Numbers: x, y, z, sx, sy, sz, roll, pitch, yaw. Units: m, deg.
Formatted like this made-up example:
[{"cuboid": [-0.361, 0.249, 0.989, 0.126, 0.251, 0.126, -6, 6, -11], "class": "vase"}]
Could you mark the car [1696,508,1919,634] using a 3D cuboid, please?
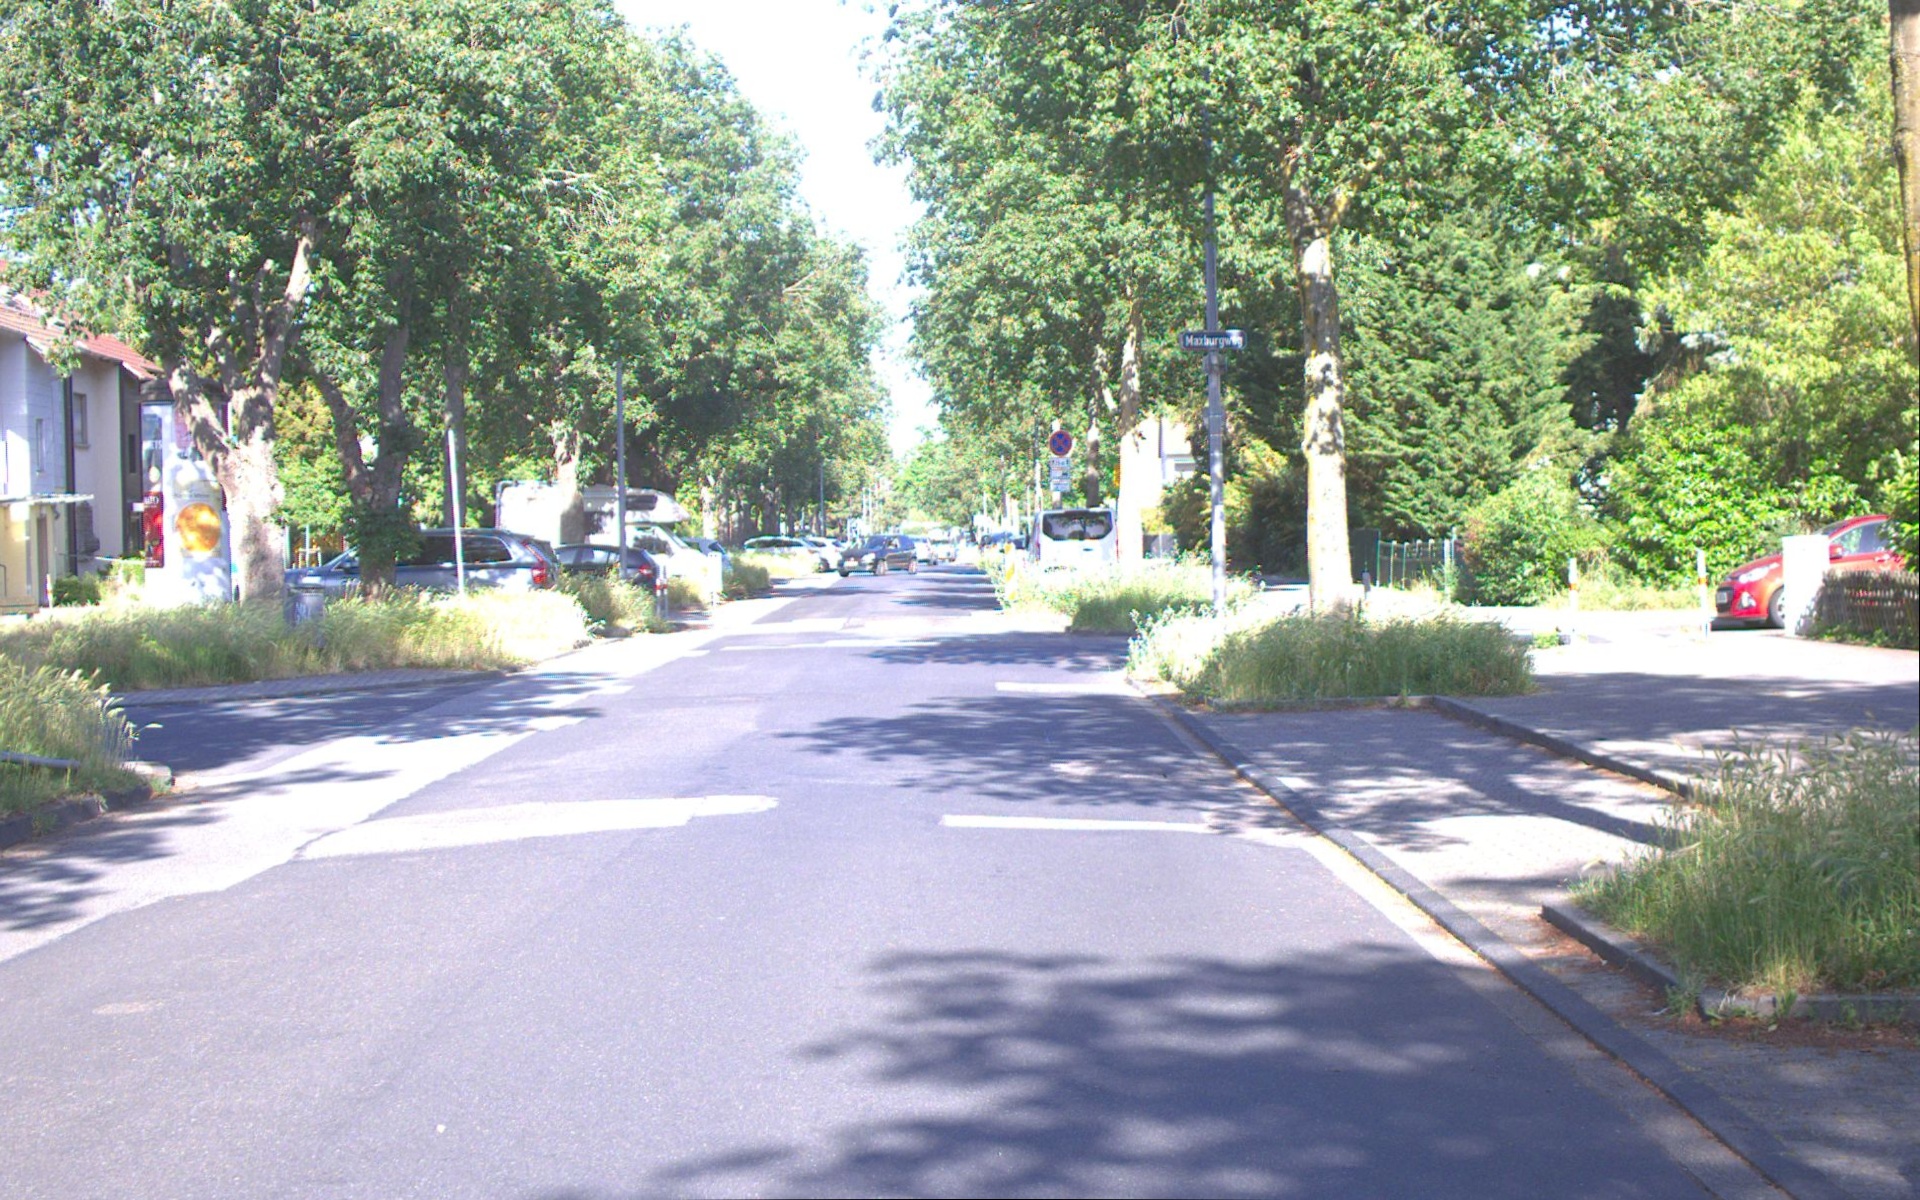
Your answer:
[{"cuboid": [12.197, -0.402, 45.940, 4.287, 1.603, 2.000, 0, 3, 1], "class": "car"}]

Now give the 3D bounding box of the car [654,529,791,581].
[{"cuboid": [-6.706, -1.281, 97.307, 3.702, 1.441, 1.664, 0, 1, 4], "class": "car"}]

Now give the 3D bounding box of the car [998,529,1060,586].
[{"cuboid": [2.173, -1.353, 109.443, 1.902, 1.768, 4.301, 0, 1, 0], "class": "car"}]

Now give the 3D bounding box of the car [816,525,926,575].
[{"cuboid": [-3.142, -1.792, 122.094, 1.997, 1.638, 3.993, 2, 3, 33], "class": "car"}]

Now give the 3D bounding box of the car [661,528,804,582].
[{"cuboid": [-6.195, -1.228, 93.889, 3.702, 1.441, 1.664, 0, 1, 4], "class": "car"}]

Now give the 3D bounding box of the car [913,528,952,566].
[{"cuboid": [-1.338, -2.570, 165.899, 1.802, 1.700, 4.001, 0, 3, -2], "class": "car"}]

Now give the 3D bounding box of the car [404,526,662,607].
[{"cuboid": [-7.245, -0.582, 58.661, 4.286, 1.310, 1.909, 0, 3, -5], "class": "car"}]

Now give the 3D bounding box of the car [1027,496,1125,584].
[{"cuboid": [2.371, -1.249, 71.261, 1.902, 1.768, 4.301, 0, 1, 0], "class": "car"}]

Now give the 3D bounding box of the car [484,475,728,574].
[{"cuboid": [-8.230, -1.787, 80.413, 5.498, 2.239, 2.517, 0, 3, -2], "class": "car"}]

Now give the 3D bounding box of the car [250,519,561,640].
[{"cuboid": [-8.426, -0.332, 52.606, 4.545, 1.759, 2.001, 0, 3, -5], "class": "car"}]
